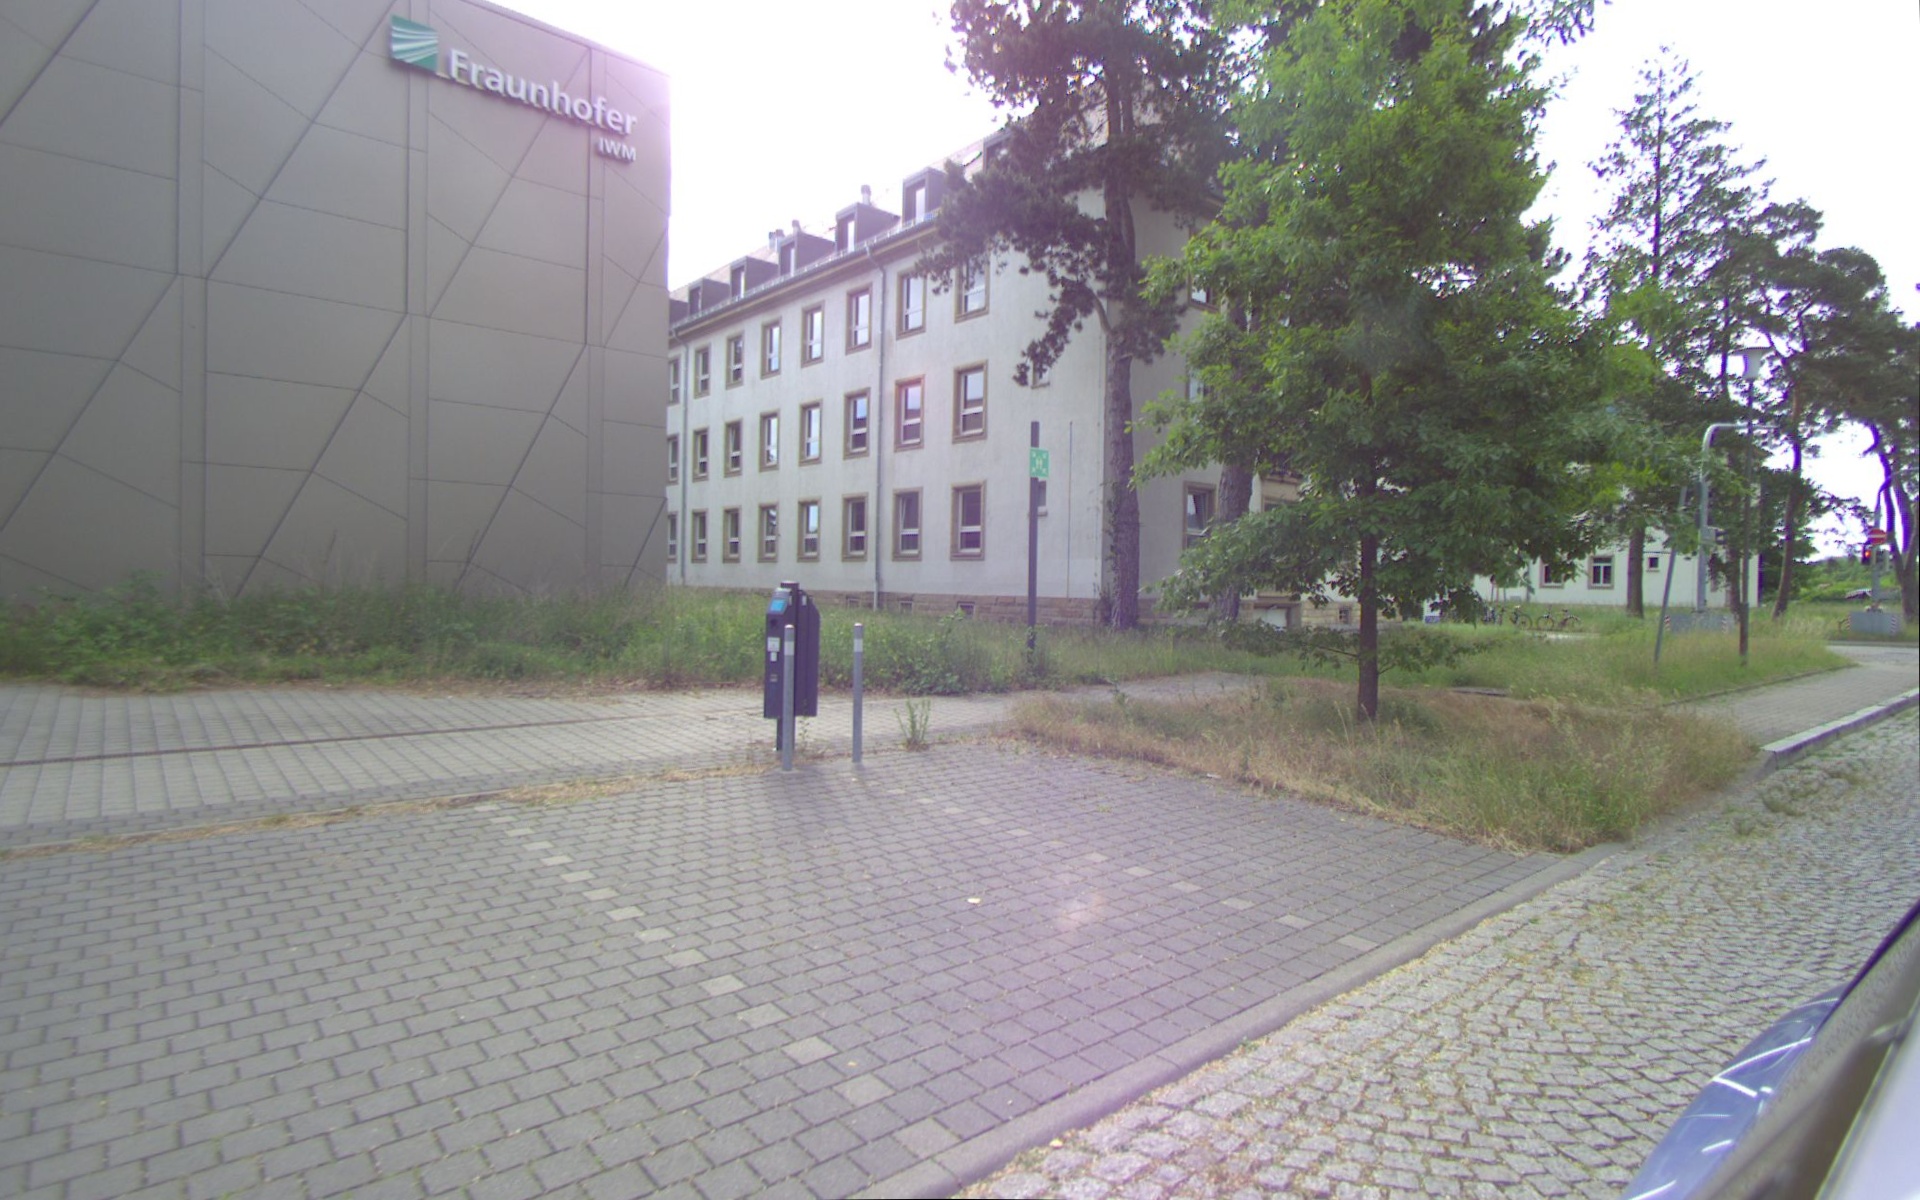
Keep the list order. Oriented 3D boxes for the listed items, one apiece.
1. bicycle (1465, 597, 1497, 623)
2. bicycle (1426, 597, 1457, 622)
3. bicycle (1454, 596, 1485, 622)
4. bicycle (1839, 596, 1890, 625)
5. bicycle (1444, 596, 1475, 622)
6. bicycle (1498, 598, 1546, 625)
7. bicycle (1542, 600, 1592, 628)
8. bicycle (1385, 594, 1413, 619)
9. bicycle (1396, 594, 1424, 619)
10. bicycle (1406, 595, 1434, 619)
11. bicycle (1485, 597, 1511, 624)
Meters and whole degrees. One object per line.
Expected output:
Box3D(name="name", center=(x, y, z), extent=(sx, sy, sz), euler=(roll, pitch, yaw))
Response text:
Box3D(name="bicycle", center=(23.359, 0.430, 45.364), extent=(1.670, 1.142, 0.477), euler=(0, 0, -33))
Box3D(name="bicycle", center=(22.254, 0.420, 46.739), extent=(1.697, 1.142, 0.448), euler=(0, 0, -33))
Box3D(name="bicycle", center=(23.059, 0.408, 45.757), extent=(1.668, 1.142, 0.448), euler=(0, 0, -33))
Box3D(name="bicycle", center=(36.119, 0.425, 40.422), extent=(1.623, 1.099, 0.616), euler=(1, 0, -9))
Box3D(name="bicycle", center=(22.801, 0.411, 46.164), extent=(1.697, 1.142, 0.448), euler=(0, 0, -33))
Box3D(name="bicycle", center=(23.734, 0.469, 42.779), extent=(0.603, 1.099, 1.655), euler=(1, 1, -38))
Box3D(name="bicycle", center=(24.933, 0.561, 41.573), extent=(0.604, 1.099, 1.653), euler=(1, 1, -43))
Box3D(name="bicycle", center=(20.992, 0.317, 48.396), extent=(1.699, 1.142, 0.448), euler=(0, 1, -38))
Box3D(name="bicycle", center=(21.334, 0.311, 47.979), extent=(1.699, 1.142, 0.448), euler=(0, 1, -38))
Box3D(name="bicycle", center=(21.623, 0.329, 47.591), extent=(1.699, 1.142, 0.448), euler=(0, 1, -38))
Box3D(name="bicycle", center=(23.933, 0.458, 45.038), extent=(1.628, 1.142, 0.476), euler=(0, 1, -42))
